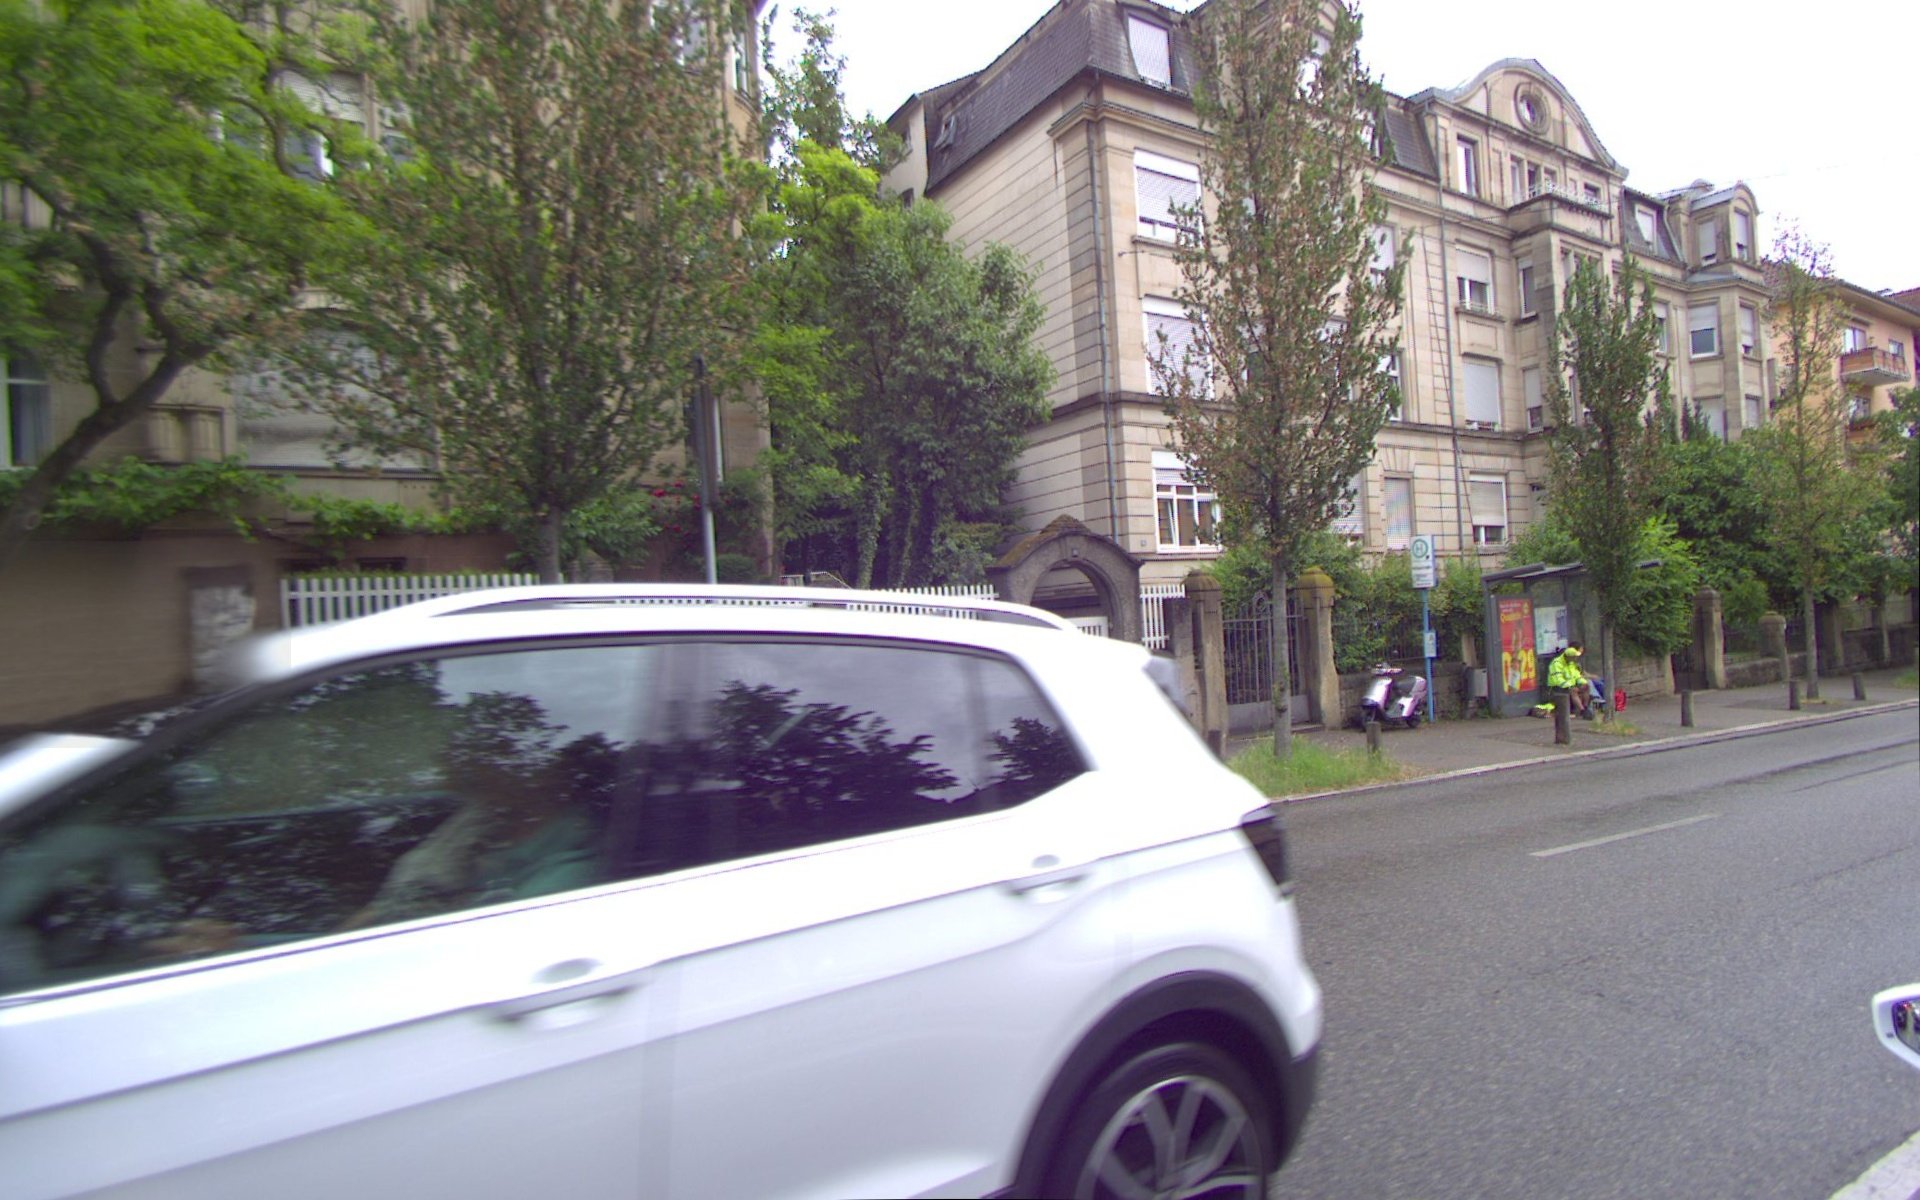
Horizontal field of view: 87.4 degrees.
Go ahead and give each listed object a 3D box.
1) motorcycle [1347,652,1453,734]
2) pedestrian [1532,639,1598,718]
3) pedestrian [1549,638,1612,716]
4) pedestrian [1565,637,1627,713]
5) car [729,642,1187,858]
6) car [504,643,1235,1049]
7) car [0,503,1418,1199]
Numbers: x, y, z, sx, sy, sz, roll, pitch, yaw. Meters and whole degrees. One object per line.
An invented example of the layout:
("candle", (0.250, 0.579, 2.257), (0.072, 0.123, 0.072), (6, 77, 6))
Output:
("motorcycle", (7.334, 1.523, 16.713), (1.741, 1.253, 0.653), (0, -3, -30))
("pedestrian", (11.498, 1.488, 19.093), (0.751, 1.451, 0.762), (0, -3, -32))
("pedestrian", (12.022, 1.487, 19.470), (0.642, 1.451, 0.763), (0, -3, -30))
("pedestrian", (12.555, 1.477, 19.830), (0.642, 1.451, 0.763), (0, -3, -30))
("car", (0.095, 1.254, 9.784), (4.259, 1.580, 1.730), (0, -1, -35))
("car", (-0.438, 1.117, 5.822), (3.826, 1.536, 1.735), (0, -6, -33))
("car", (-1.120, 0.723, 2.028), (4.054, 1.537, 1.763), (0, -4, -33))
